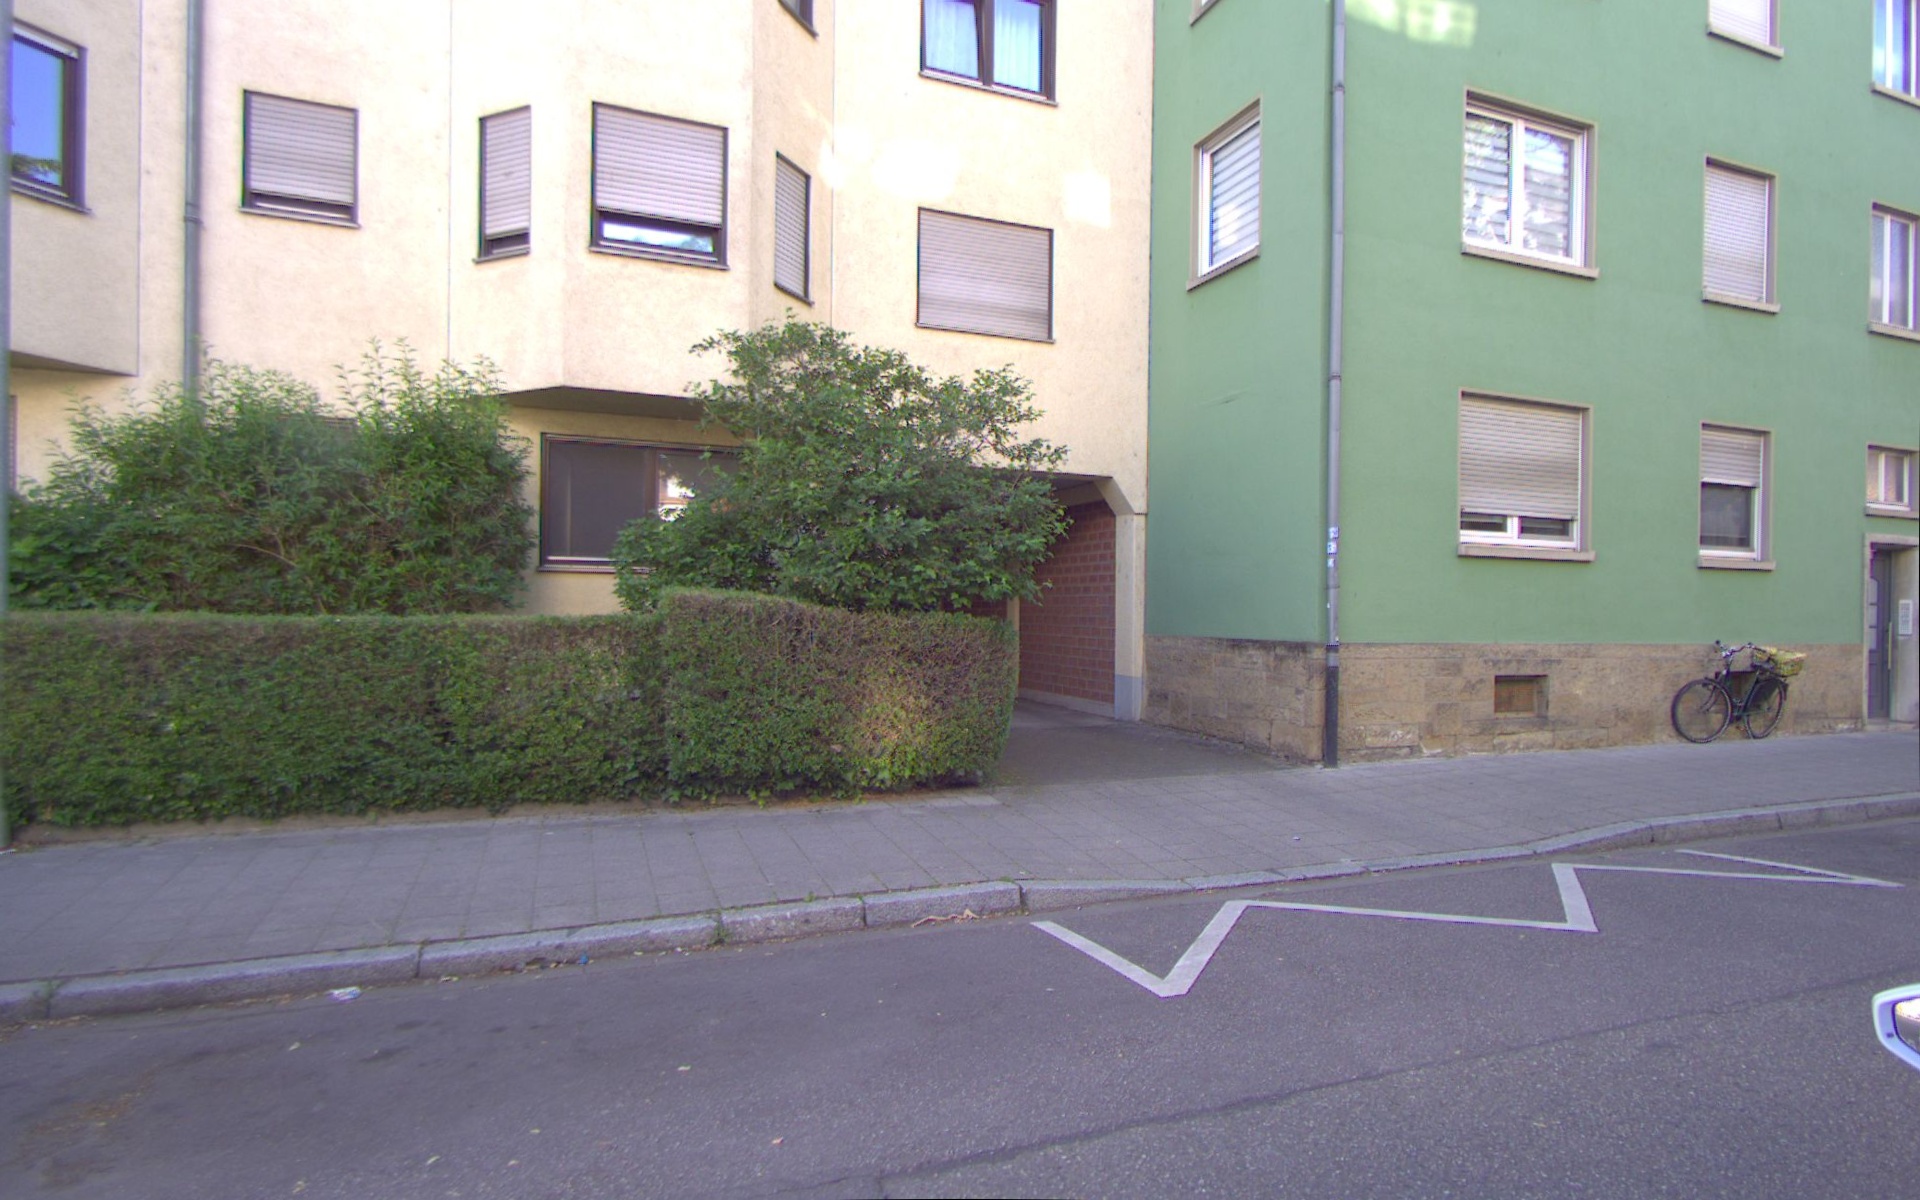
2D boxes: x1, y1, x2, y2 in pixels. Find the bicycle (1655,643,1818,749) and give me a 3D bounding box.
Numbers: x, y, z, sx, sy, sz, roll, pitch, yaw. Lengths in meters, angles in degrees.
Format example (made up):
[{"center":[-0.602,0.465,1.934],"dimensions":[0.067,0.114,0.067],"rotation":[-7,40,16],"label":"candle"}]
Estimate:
[{"center":[8.787,1.060,11.351],"dimensions":[1.941,1.090,0.485],"rotation":[1,3,-22],"label":"bicycle"}]
